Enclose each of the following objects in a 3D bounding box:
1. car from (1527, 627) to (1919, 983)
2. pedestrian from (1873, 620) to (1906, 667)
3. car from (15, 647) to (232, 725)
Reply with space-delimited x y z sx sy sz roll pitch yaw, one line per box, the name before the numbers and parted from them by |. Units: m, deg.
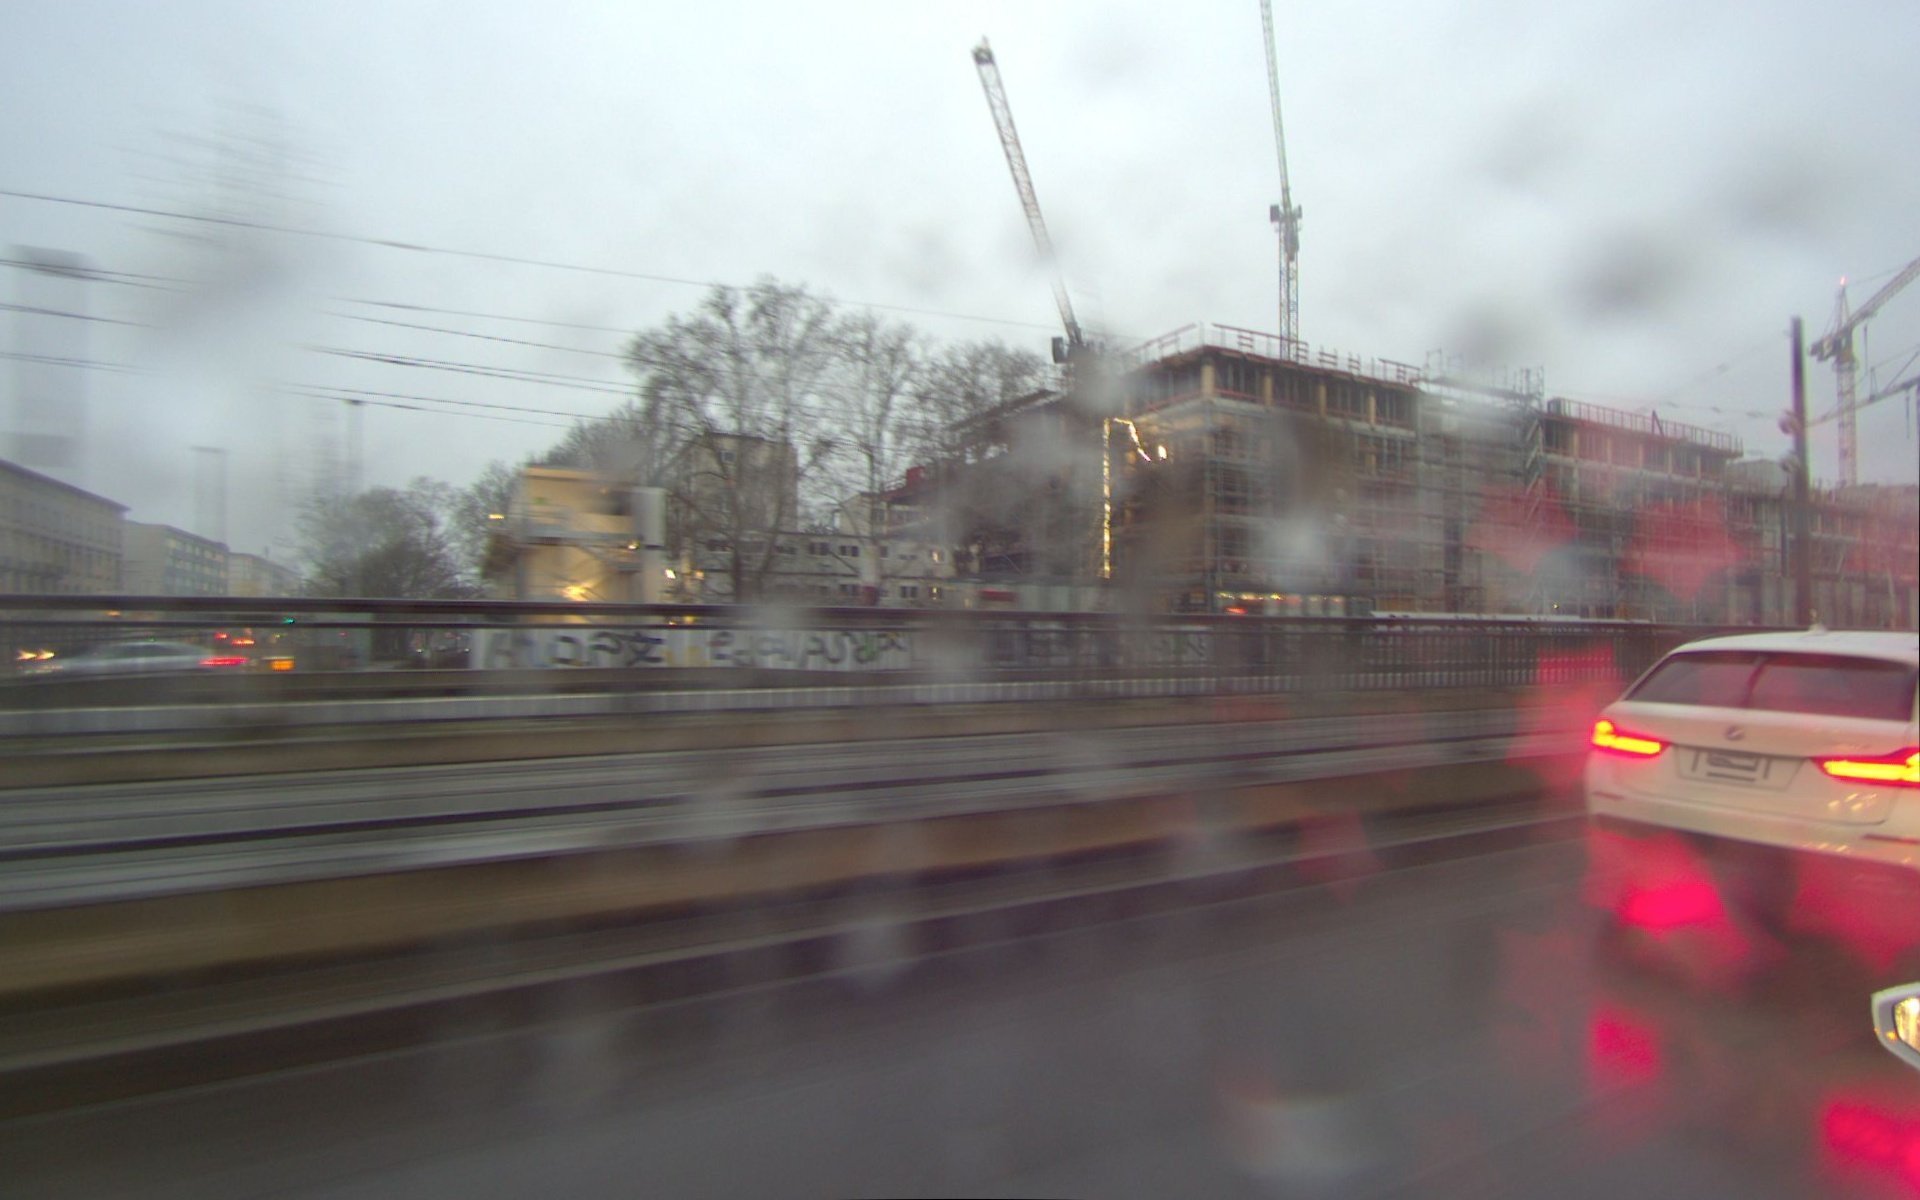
car | 5.816 0.943 6.161 4.887 1.485 1.844 1 -1 -30
pedestrian | 32.092 1.496 34.678 0.729 1.571 0.583 1 -1 -20
car | -22.701 2.283 27.532 4.340 1.898 1.862 2 -1 -34
